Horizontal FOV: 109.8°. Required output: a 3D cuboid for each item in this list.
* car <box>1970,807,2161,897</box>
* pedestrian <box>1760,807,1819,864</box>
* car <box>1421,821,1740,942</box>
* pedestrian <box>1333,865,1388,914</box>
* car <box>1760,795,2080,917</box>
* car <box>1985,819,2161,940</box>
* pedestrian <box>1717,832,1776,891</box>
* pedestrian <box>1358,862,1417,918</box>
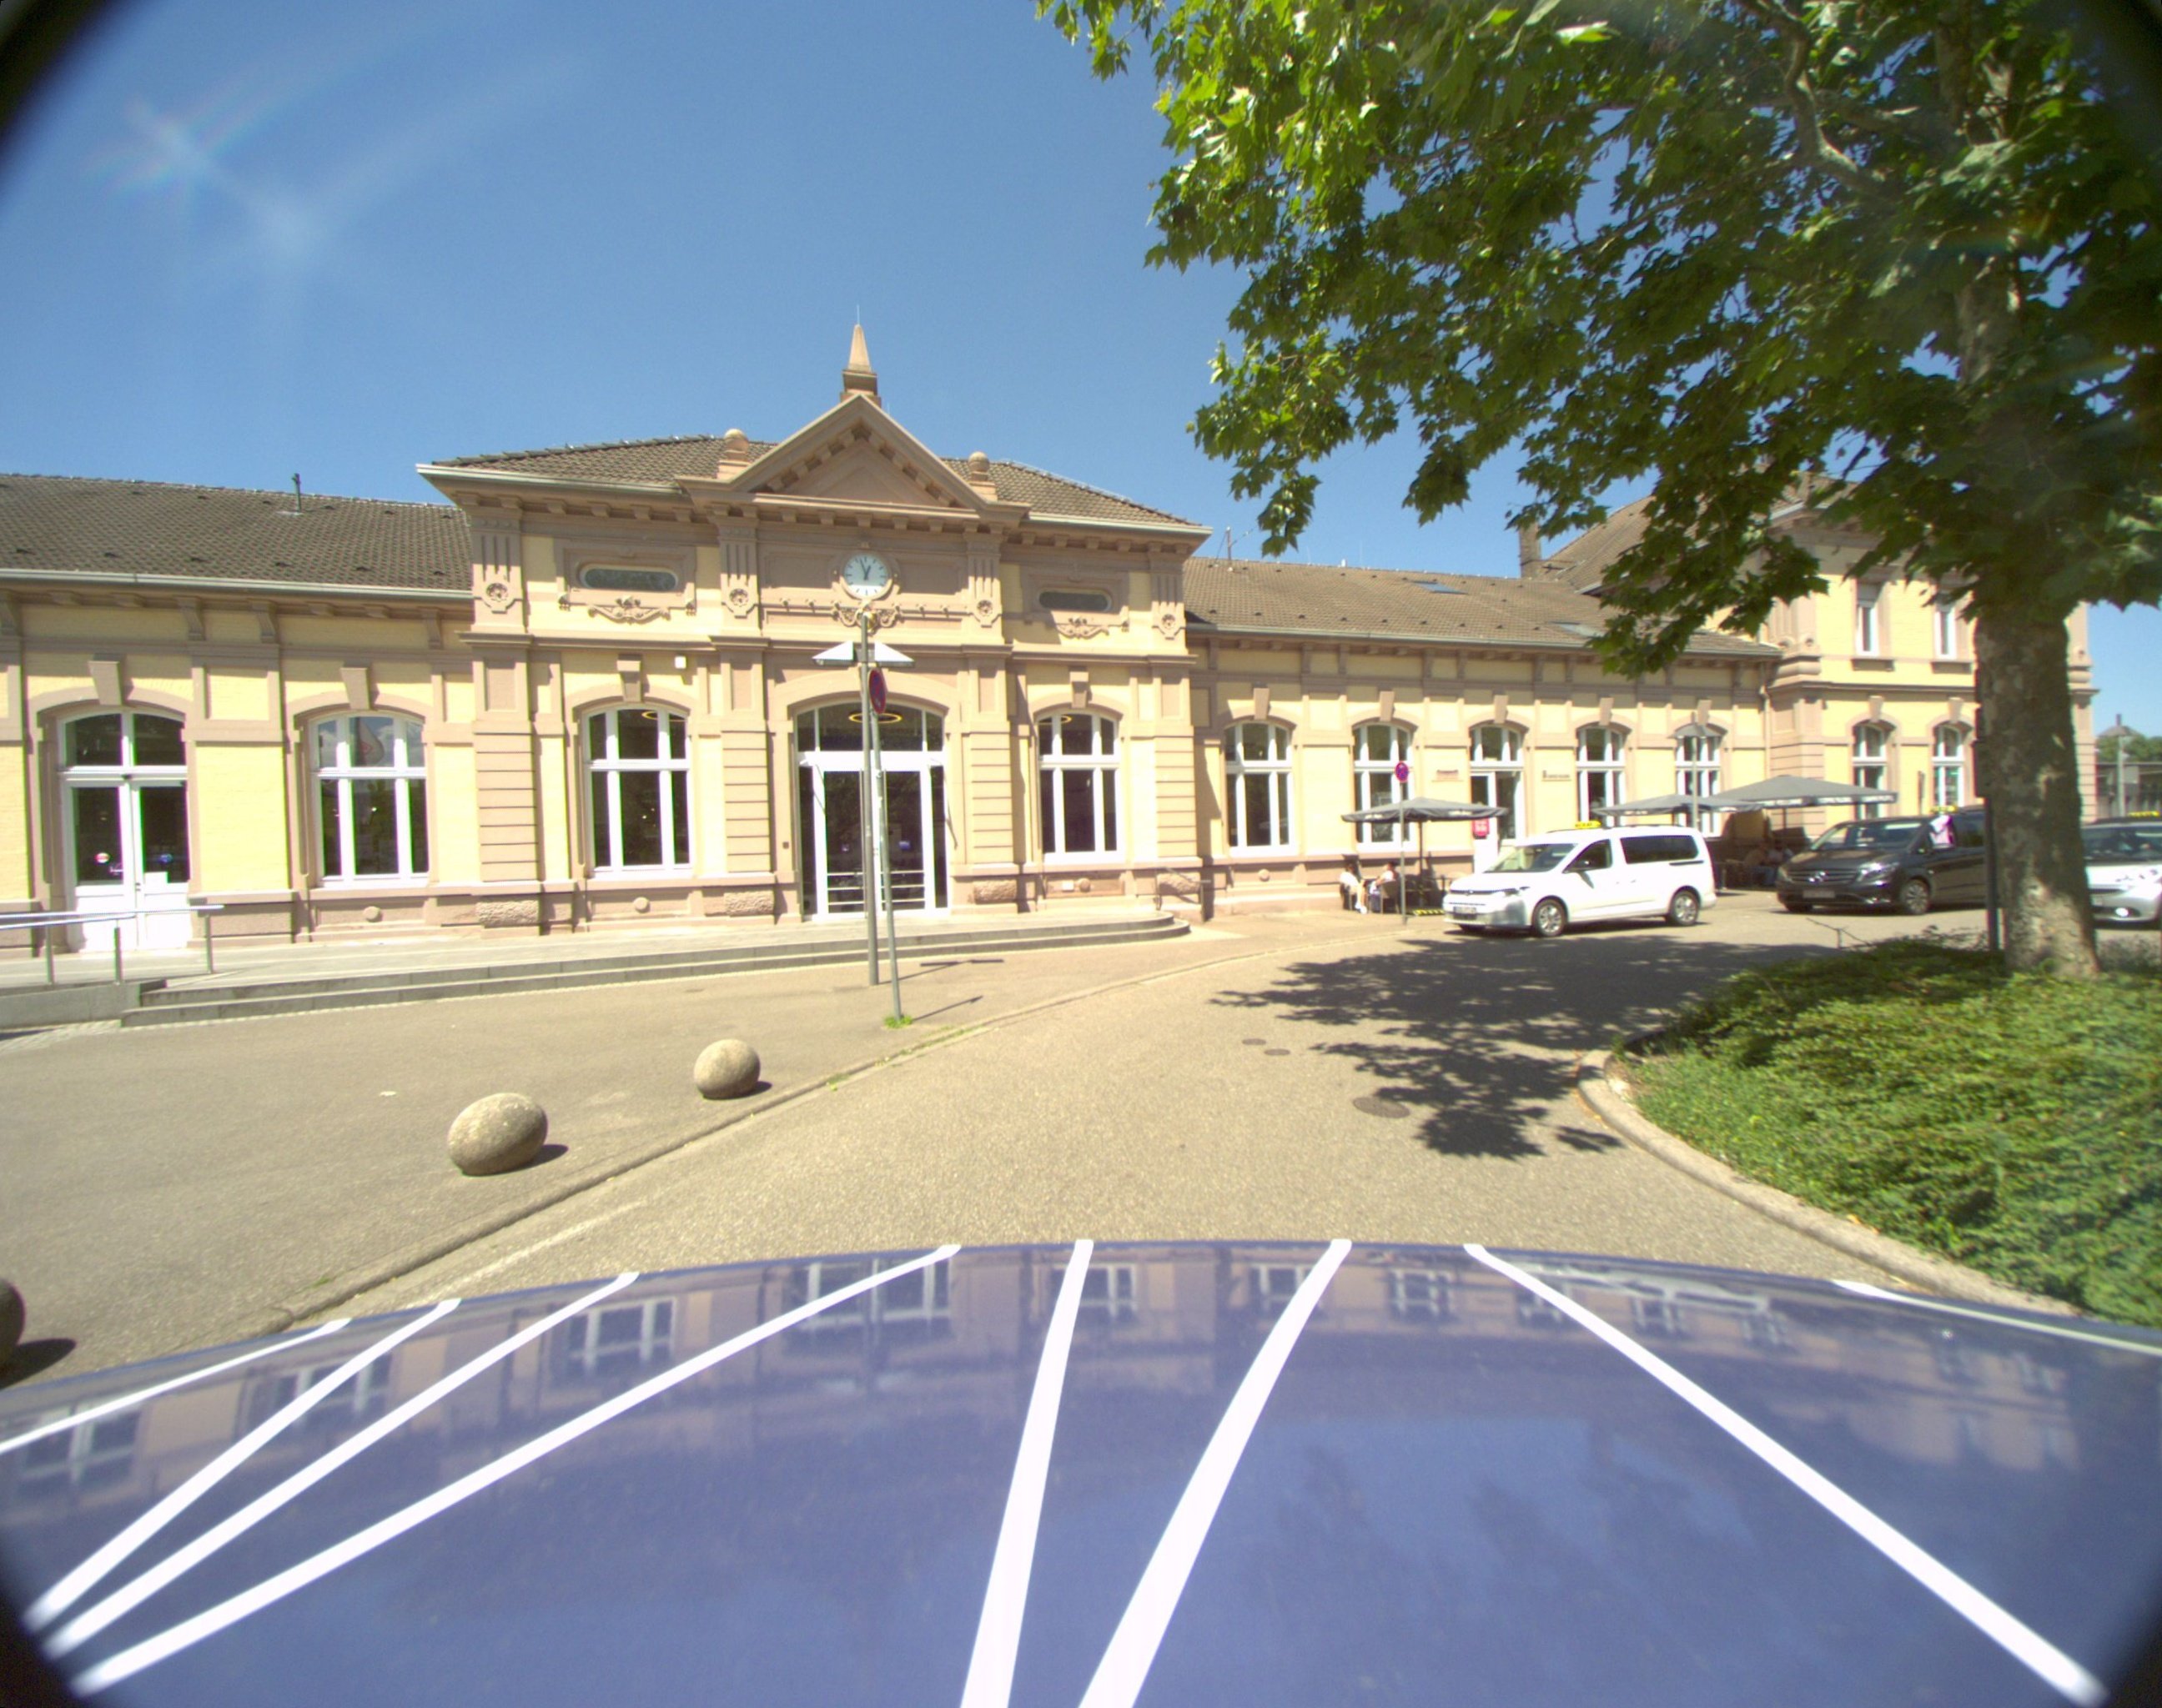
[{"bbox_3d":[23.077,-0.066,17.264,4.844,1.829,2.078,-1,-1,-19],"label":"car"},{"bbox_3d":[19.775,-0.514,21.217,0.852,1.535,0.880,-2,2,-18],"label":"pedestrian"},{"bbox_3d":[8.856,0.422,13.523,5.142,1.854,1.813,-1,-1,-16],"label":"car"},{"bbox_3d":[6.600,0.824,17.972,0.852,1.074,0.880,-2,2,-18],"label":"pedestrian"},{"bbox_3d":[16.578,0.000,15.012,5.830,2.111,2.090,-1,-1,-19],"label":"car"},{"bbox_3d":[15.511,0.301,11.151,3.107,1.584,1.600,-2,0,-12],"label":"car"},{"bbox_3d":[18.067,0.184,20.633,0.852,1.535,0.880,-2,2,-18],"label":"pedestrian"},{"bbox_3d":[6.875,0.795,17.072,0.852,1.155,0.880,-2,2,-18],"label":"pedestrian"}]
